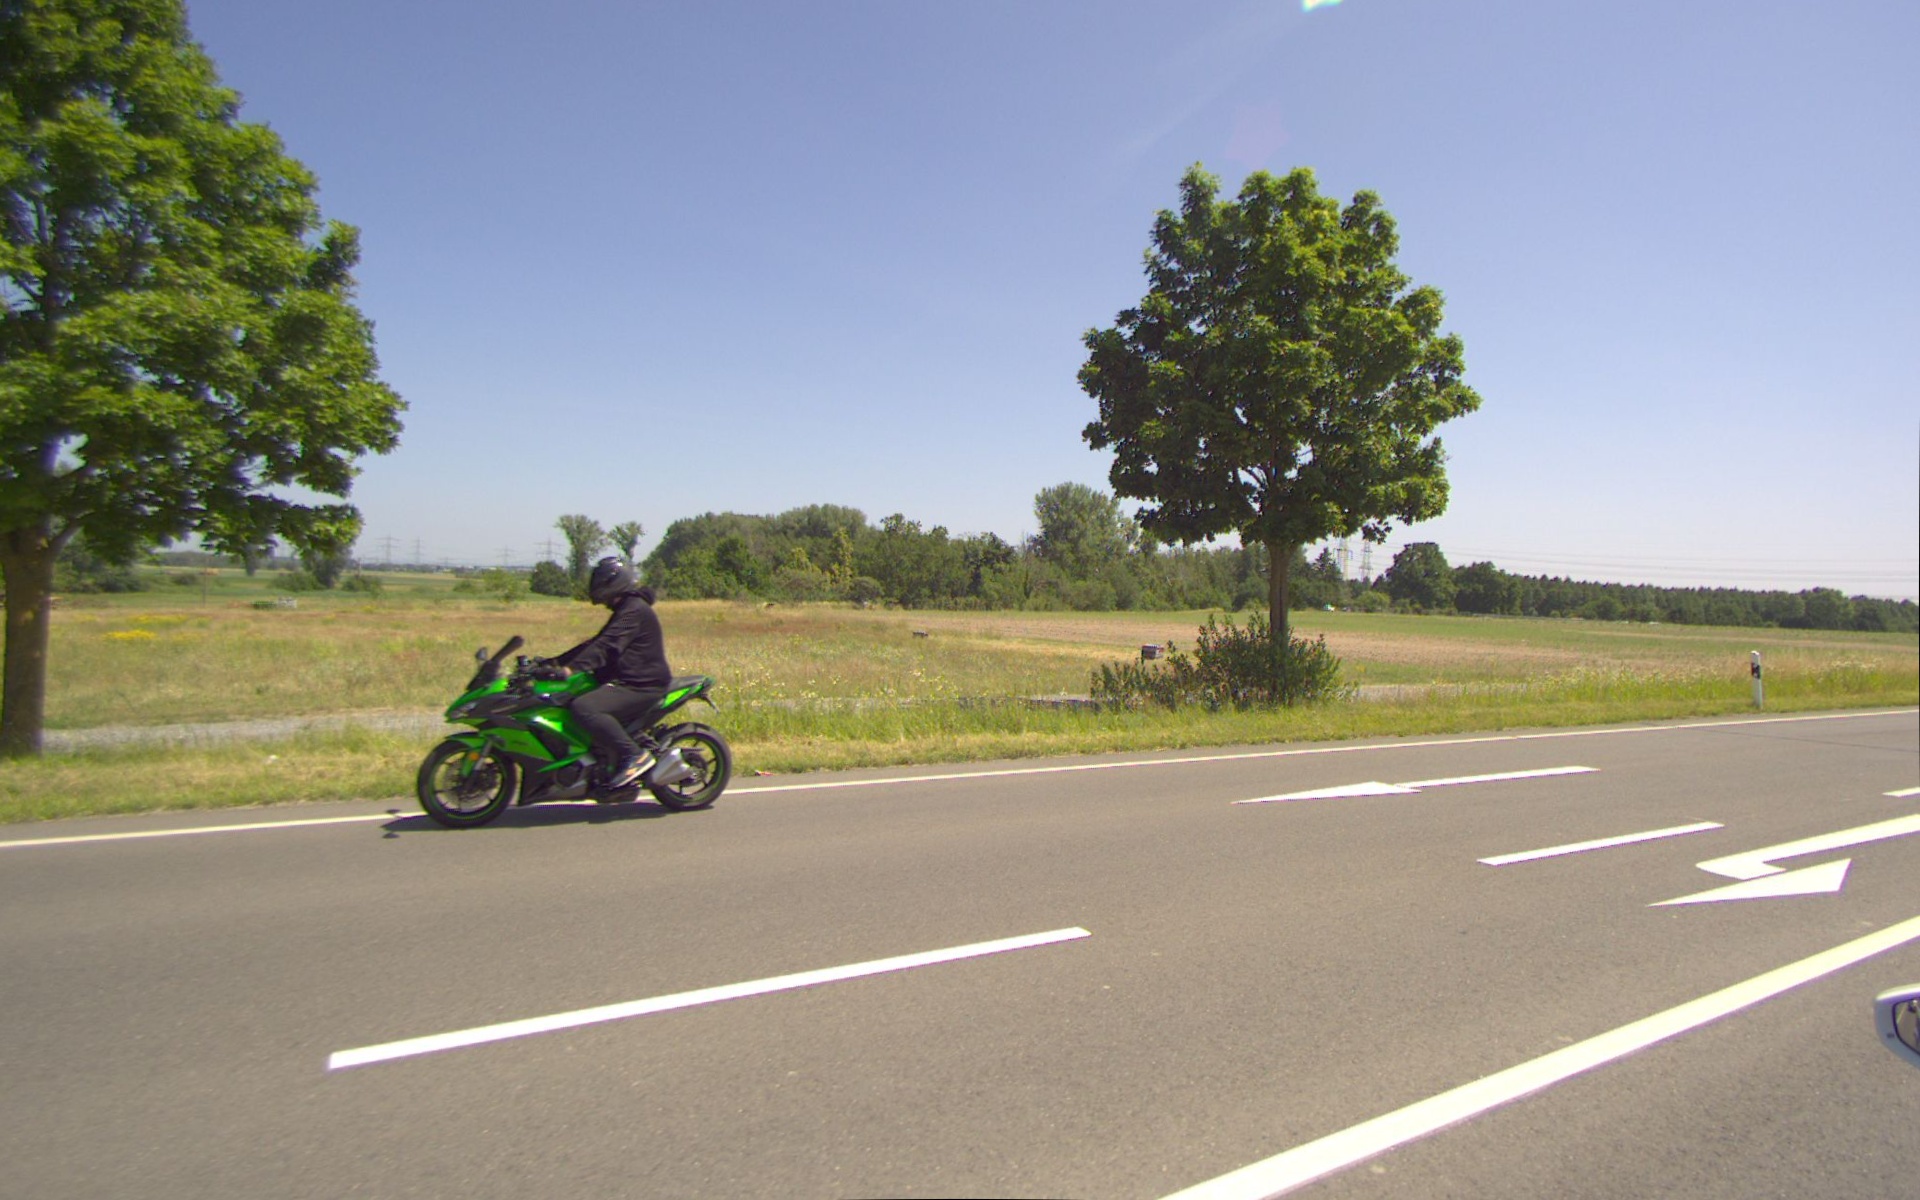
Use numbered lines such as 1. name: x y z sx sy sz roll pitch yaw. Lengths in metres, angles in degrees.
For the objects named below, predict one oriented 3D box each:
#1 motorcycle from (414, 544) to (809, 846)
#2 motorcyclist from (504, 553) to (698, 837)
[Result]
1. motorcycle: -2.340 0.580 6.876 2.417 1.766 0.884 1 0 -30
2. motorcyclist: -2.445 0.597 6.819 1.076 1.744 0.849 1 0 -30
